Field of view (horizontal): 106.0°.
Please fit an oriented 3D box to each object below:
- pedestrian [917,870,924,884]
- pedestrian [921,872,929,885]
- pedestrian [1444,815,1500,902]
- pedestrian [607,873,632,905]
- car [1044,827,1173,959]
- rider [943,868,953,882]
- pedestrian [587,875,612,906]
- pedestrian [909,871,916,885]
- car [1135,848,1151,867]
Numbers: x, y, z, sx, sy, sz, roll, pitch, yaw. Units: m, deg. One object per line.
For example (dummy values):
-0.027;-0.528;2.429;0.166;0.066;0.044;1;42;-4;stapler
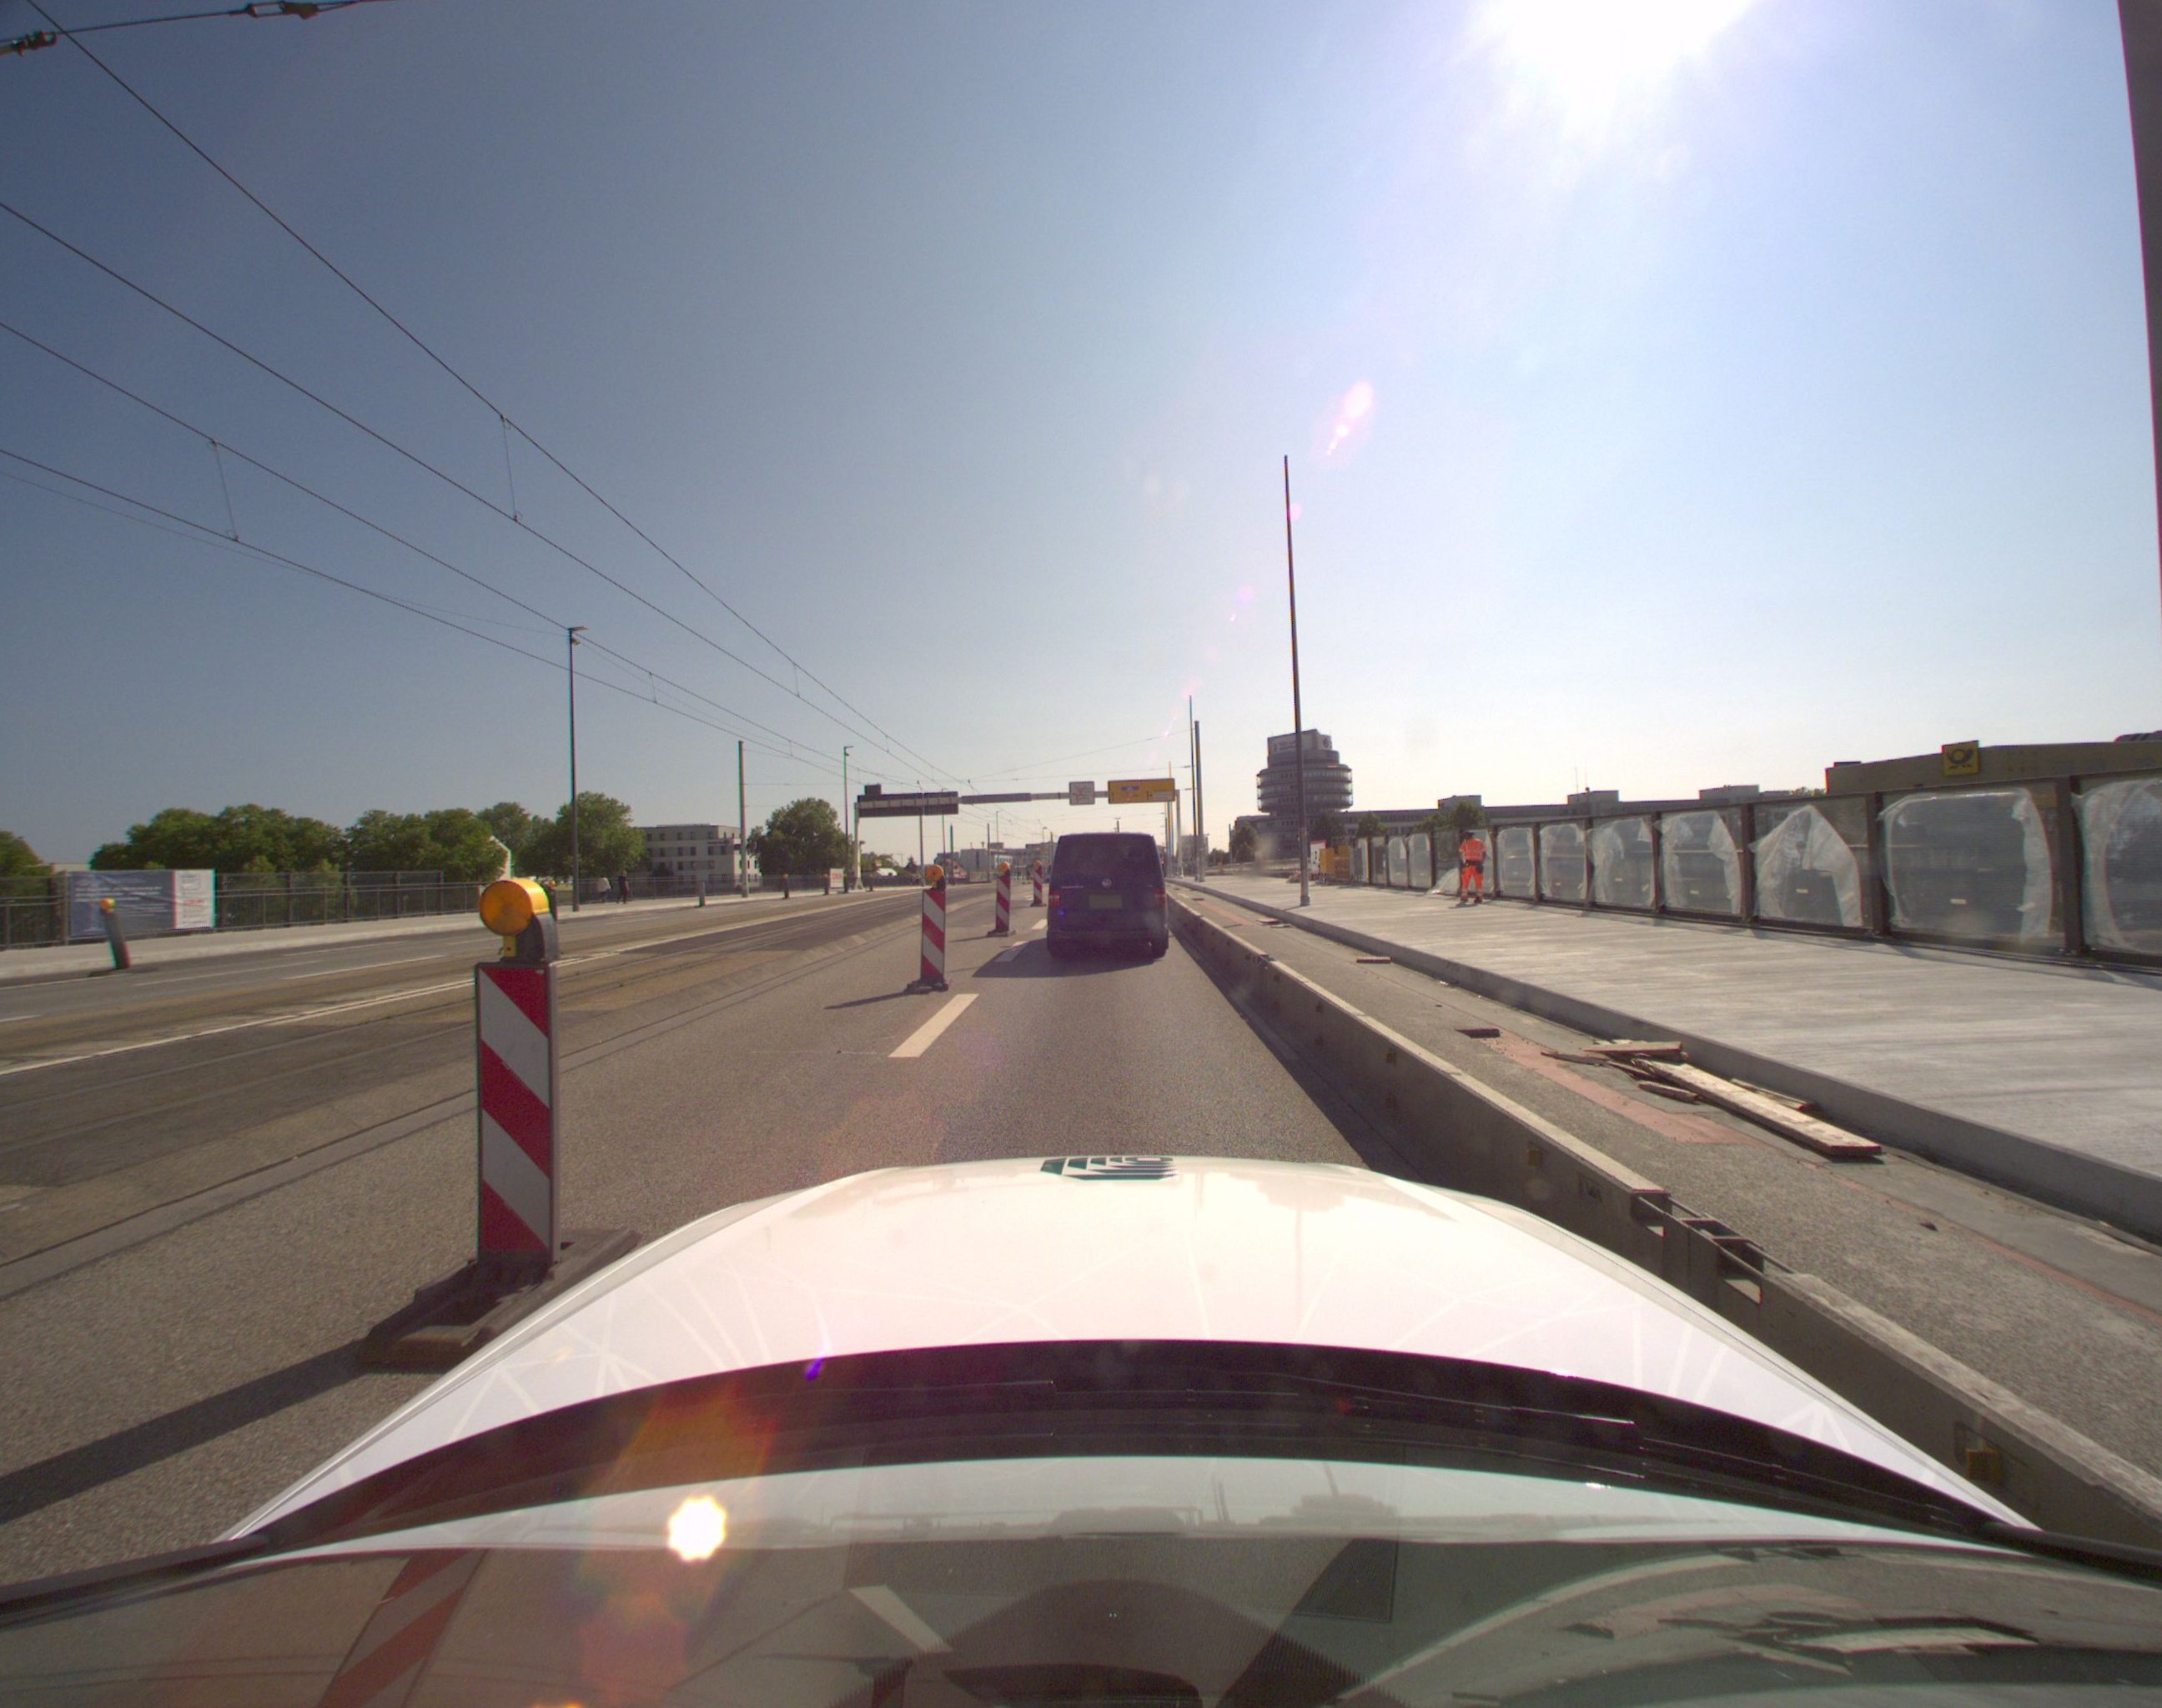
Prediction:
-20.164;2.912;102.330;0.483;1.687;0.809;-2;-1;5;pedestrian
-20.100;3.119;104.871;0.749;1.687;0.733;-2;-1;5;pedestrian
9.235;0.100;19.274;0.728;1.965;1.017;-3;-1;2;pedestrian
-23.997;1.795;42.370;0.741;1.642;0.895;0;-1;2;pedestrian
0.474;0.608;13.979;1.881;1.934;4.001;0;-1;2;car
-17.907;2.824;109.323;0.760;1.733;2.952;-1;-1;2;rider
-25.049;1.889;42.395;0.717;1.544;0.889;0;-1;2;pedestrian
-21.097;2.988;101.961;0.594;1.687;0.819;-2;-1;5;pedestrian
9.778;0.629;128.241;2.329;2.887;5.975;-1;-1;3;car
